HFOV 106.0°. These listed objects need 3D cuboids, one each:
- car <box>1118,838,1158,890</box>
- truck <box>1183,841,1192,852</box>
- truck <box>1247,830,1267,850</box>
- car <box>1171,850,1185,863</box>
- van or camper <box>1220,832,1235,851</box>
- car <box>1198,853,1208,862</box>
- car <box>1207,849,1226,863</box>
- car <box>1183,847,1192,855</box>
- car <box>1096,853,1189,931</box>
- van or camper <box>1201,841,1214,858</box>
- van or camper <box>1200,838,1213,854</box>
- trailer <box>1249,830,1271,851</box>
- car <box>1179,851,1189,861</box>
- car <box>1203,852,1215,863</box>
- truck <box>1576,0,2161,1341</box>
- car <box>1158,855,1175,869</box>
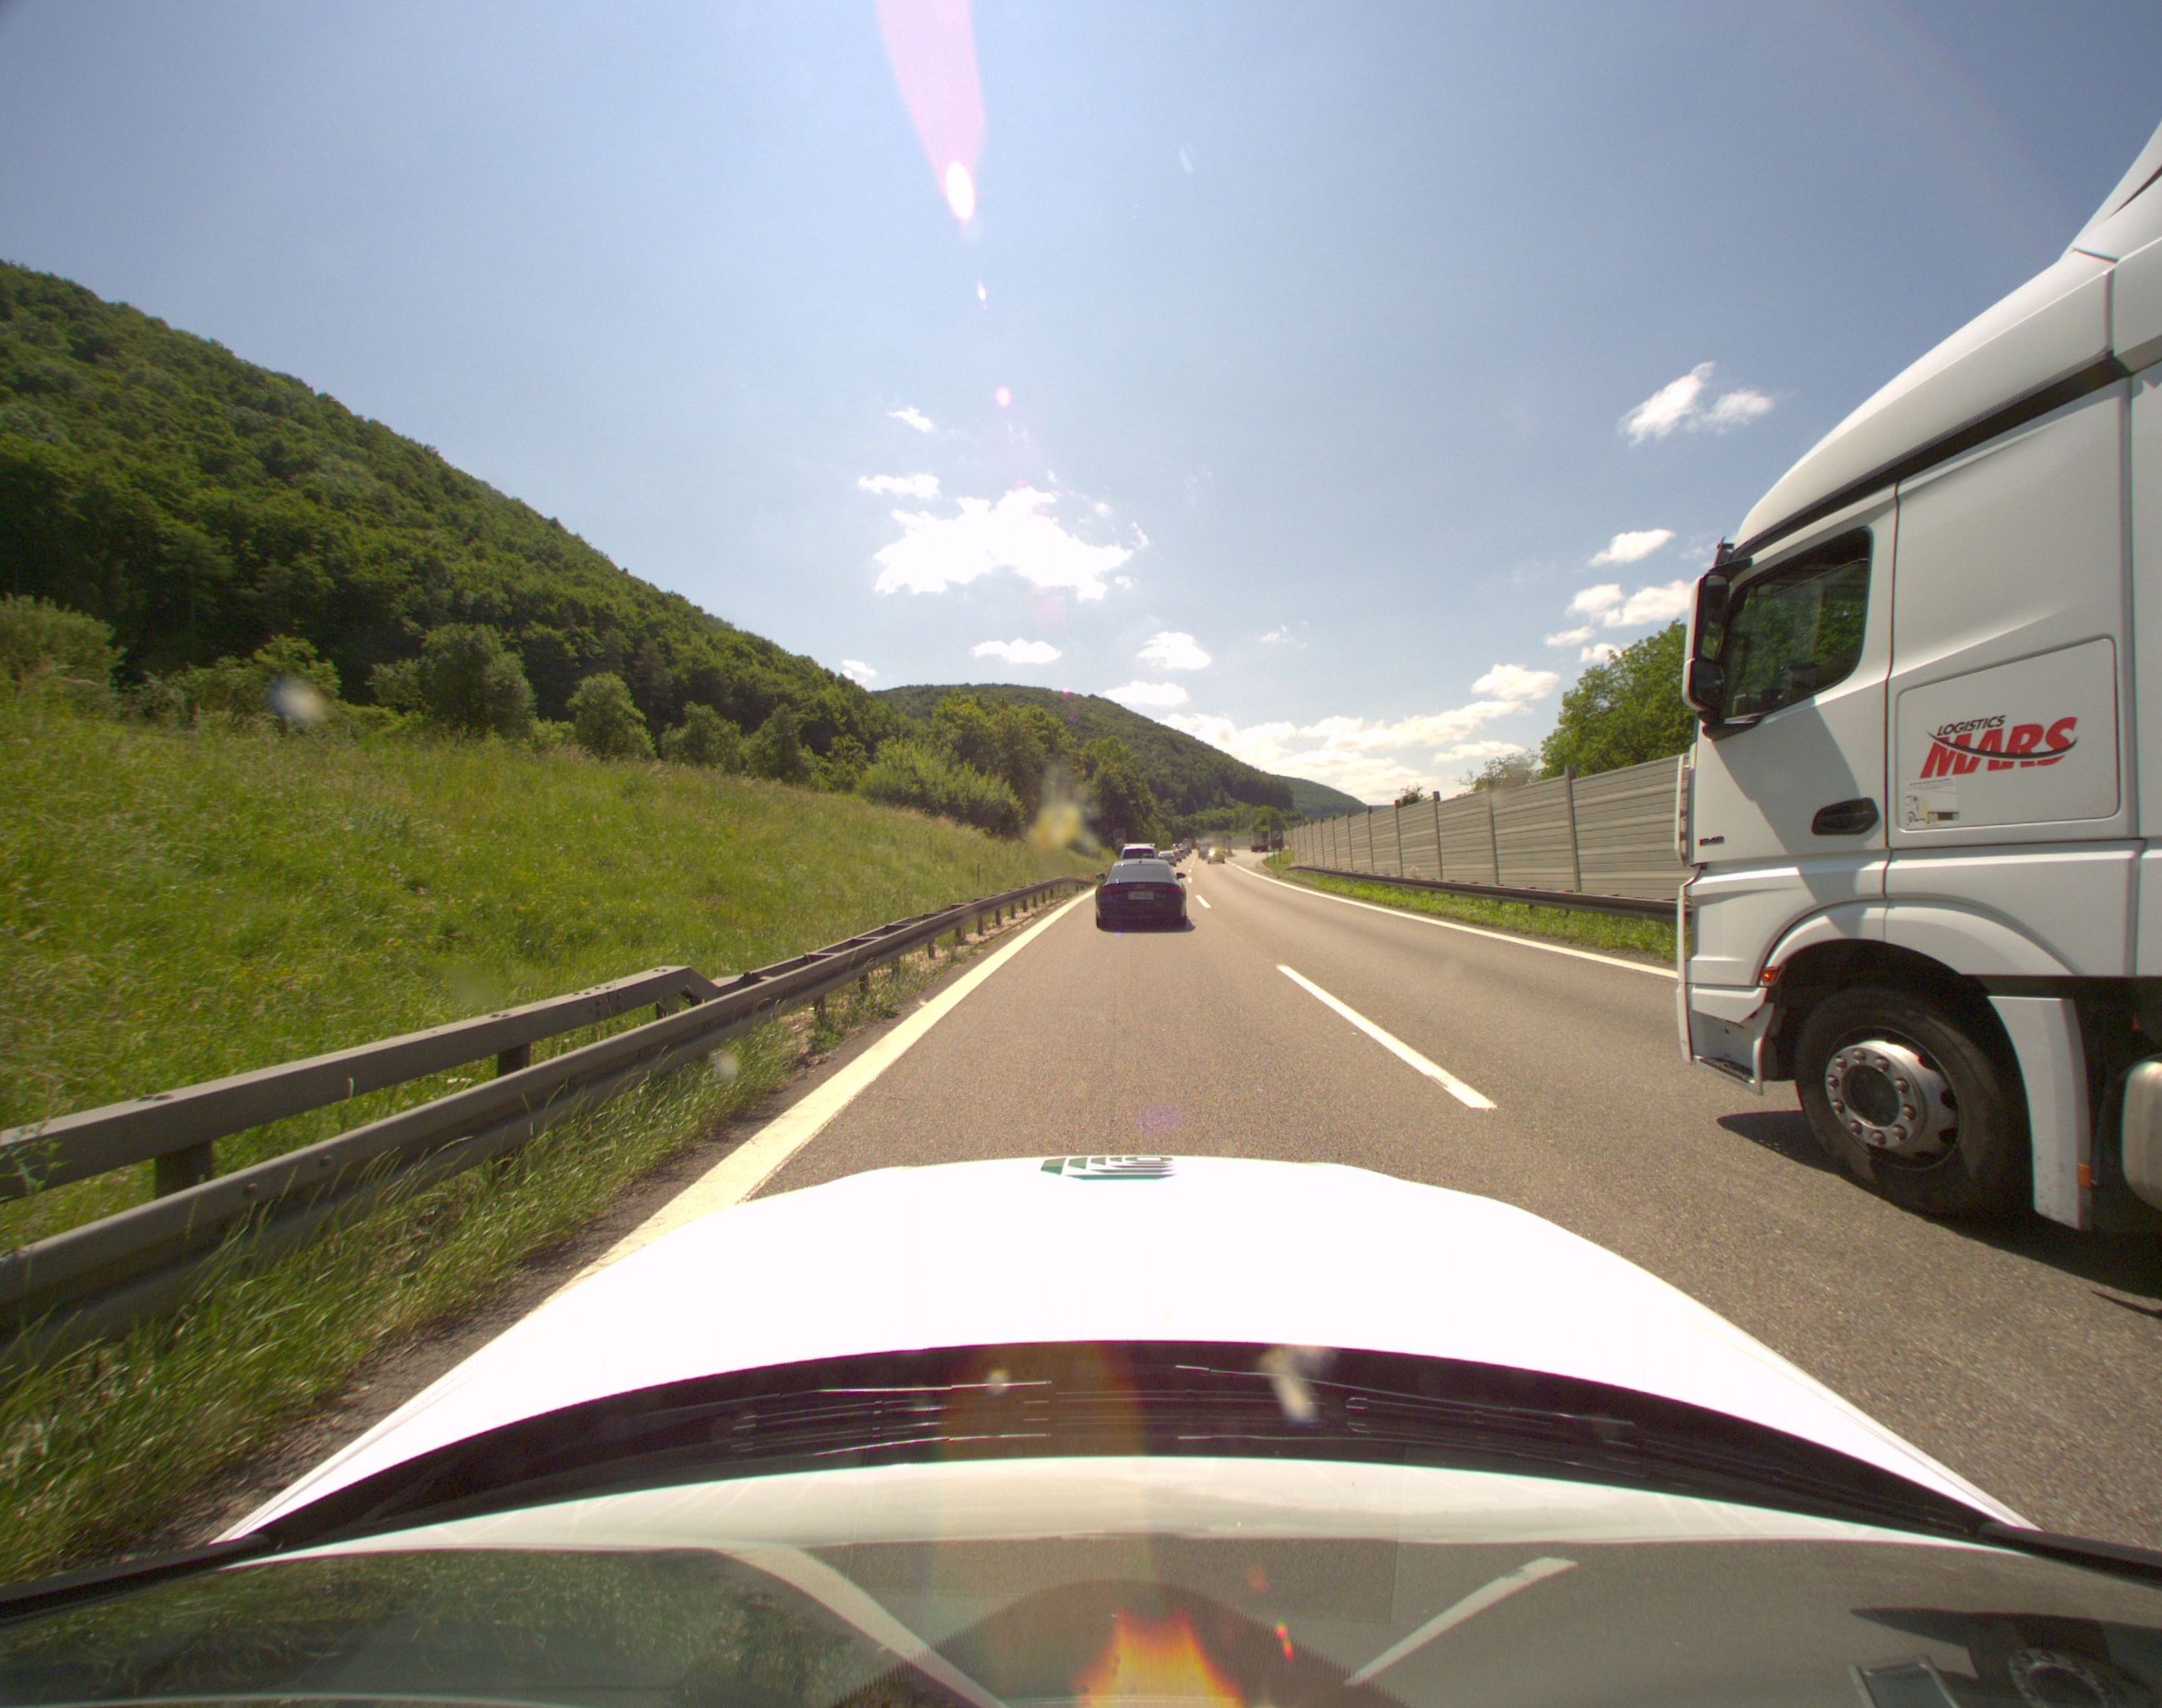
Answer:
[{"bbox_3d":[2.327,0.387,33.183,1.514,1.968,3.518,0,0,4],"label":"car"},{"bbox_3d":[27.448,-1.877,209.281,2.052,2.605,5.630,0,0,10],"label":"truck"},{"bbox_3d":[35.665,-2.722,164.966,3.393,3.900,5.400,-2,0,8],"label":"truck"},{"bbox_3d":[12.095,0.330,101.283,1.512,1.553,3.523,0,0,9],"label":"car"},{"bbox_3d":[30.432,-2.485,169.283,2.780,3.841,6.178,0,-1,6],"label":"van or camper"},{"bbox_3d":[19.317,0.573,129.029,1.521,1.525,3.605,0,-1,8],"label":"car"},{"bbox_3d":[14.412,0.196,86.843,1.868,1.499,4.010,-2,0,9],"label":"car"},{"bbox_3d":[21.583,-0.638,164.817,1.512,1.553,3.524,0,0,10],"label":"car"},{"bbox_3d":[1.233,0.739,17.743,1.806,1.514,3.515,-1,0,1],"label":"car"},{"bbox_3d":[24.309,-0.788,156.290,2.415,3.155,5.216,0,-1,8],"label":"van or camper"},{"bbox_3d":[31.108,-1.950,202.257,2.780,3.907,6.178,0,-1,6],"label":"van or camper"},{"bbox_3d":[34.926,-2.657,159.245,3.392,3.900,11.176,-2,0,8],"label":"trailer"},{"bbox_3d":[16.448,0.298,129.785,1.512,1.553,3.524,0,0,10],"label":"car"},{"bbox_3d":[16.933,0.474,108.069,1.521,1.525,3.605,0,-1,8],"label":"car"},{"bbox_3d":[4.515,-0.623,2.222,2.711,4.068,5.752,-1,-1,-1],"label":"truck"},{"bbox_3d":[8.143,0.737,77.709,1.513,1.294,3.520,0,0,6],"label":"car"}]
